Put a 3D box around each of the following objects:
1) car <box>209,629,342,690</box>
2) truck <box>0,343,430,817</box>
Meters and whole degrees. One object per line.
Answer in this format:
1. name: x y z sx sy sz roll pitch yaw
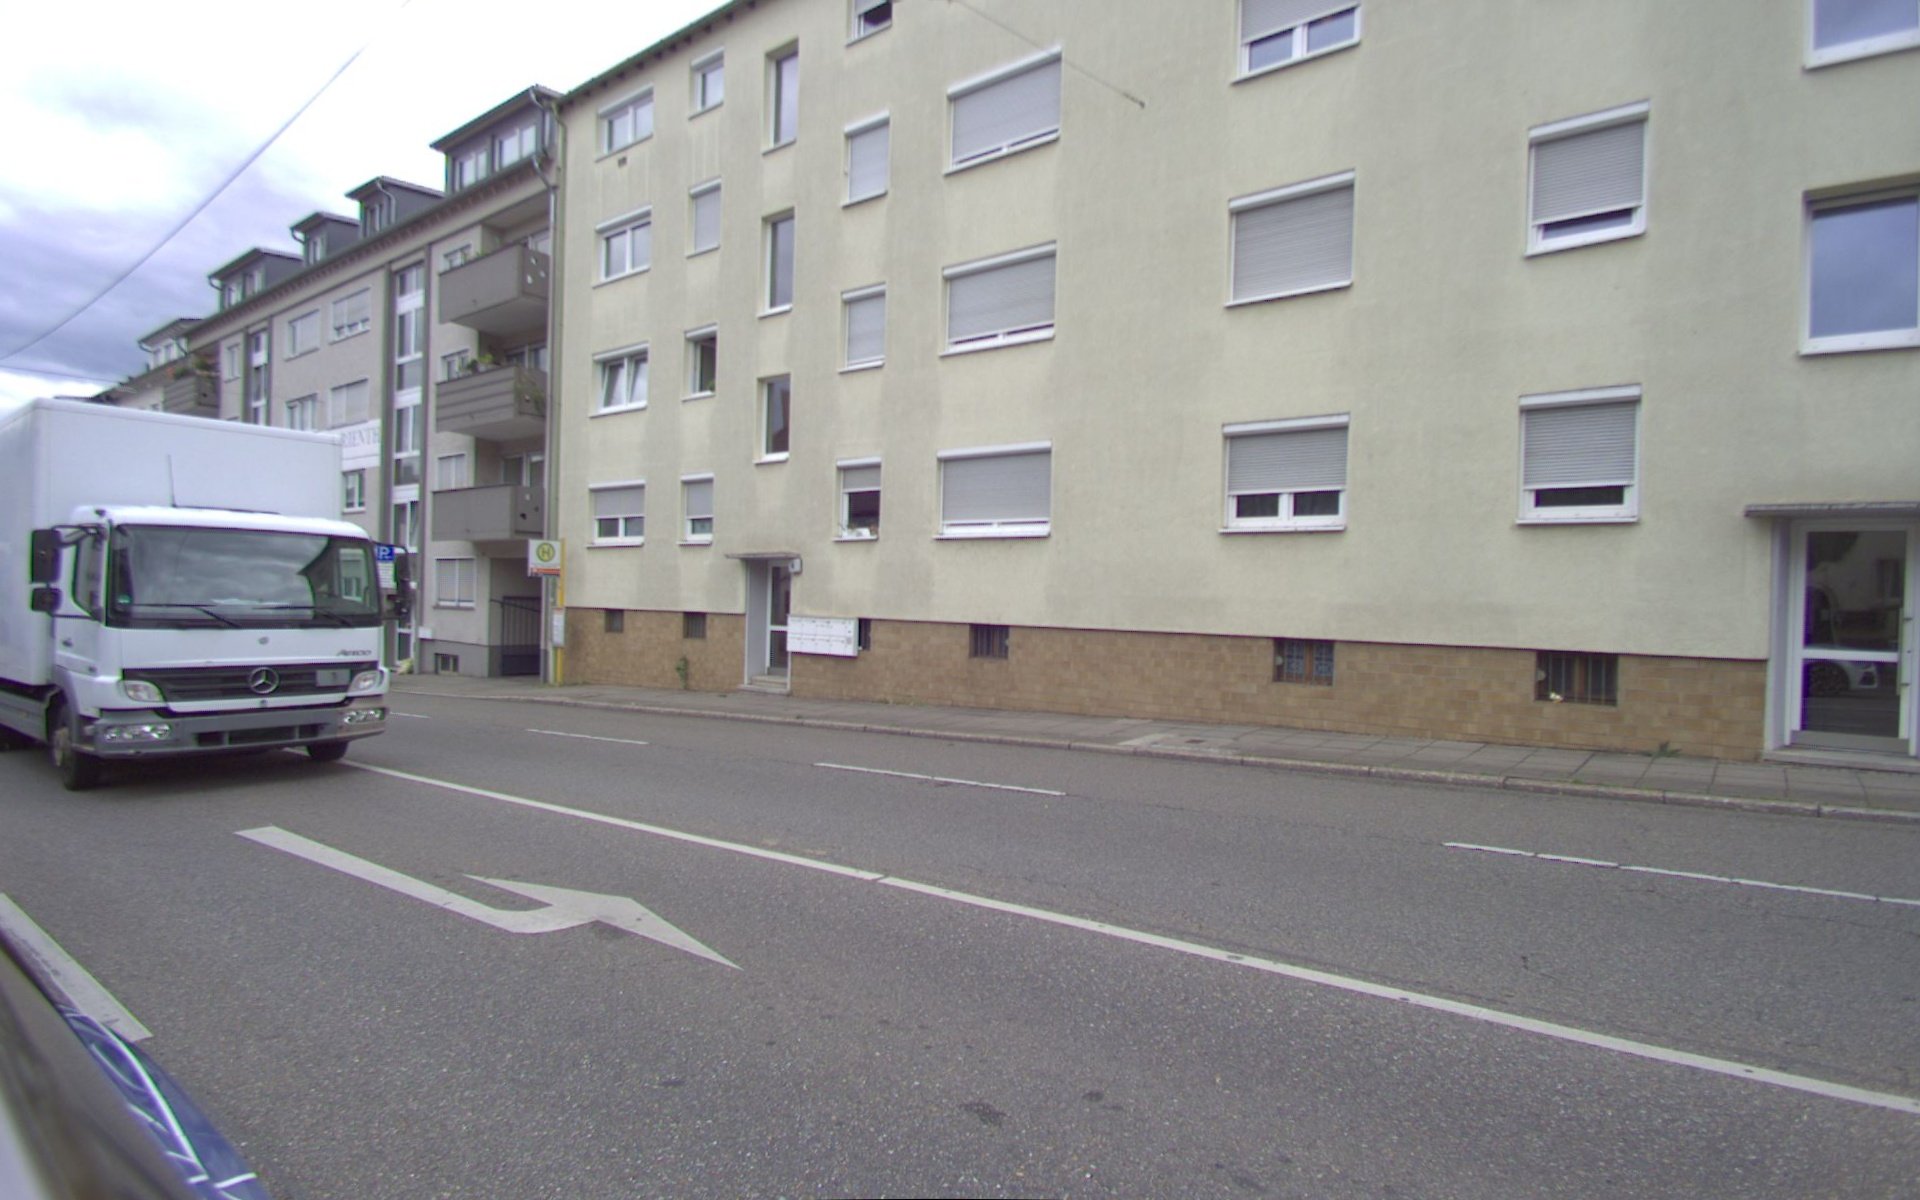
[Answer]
1. car: -17.704 1.510 26.127 3.797 1.447 1.751 -1 -4 39
2. truck: -9.144 -0.053 11.300 8.054 3.602 2.742 -2 -1 39
